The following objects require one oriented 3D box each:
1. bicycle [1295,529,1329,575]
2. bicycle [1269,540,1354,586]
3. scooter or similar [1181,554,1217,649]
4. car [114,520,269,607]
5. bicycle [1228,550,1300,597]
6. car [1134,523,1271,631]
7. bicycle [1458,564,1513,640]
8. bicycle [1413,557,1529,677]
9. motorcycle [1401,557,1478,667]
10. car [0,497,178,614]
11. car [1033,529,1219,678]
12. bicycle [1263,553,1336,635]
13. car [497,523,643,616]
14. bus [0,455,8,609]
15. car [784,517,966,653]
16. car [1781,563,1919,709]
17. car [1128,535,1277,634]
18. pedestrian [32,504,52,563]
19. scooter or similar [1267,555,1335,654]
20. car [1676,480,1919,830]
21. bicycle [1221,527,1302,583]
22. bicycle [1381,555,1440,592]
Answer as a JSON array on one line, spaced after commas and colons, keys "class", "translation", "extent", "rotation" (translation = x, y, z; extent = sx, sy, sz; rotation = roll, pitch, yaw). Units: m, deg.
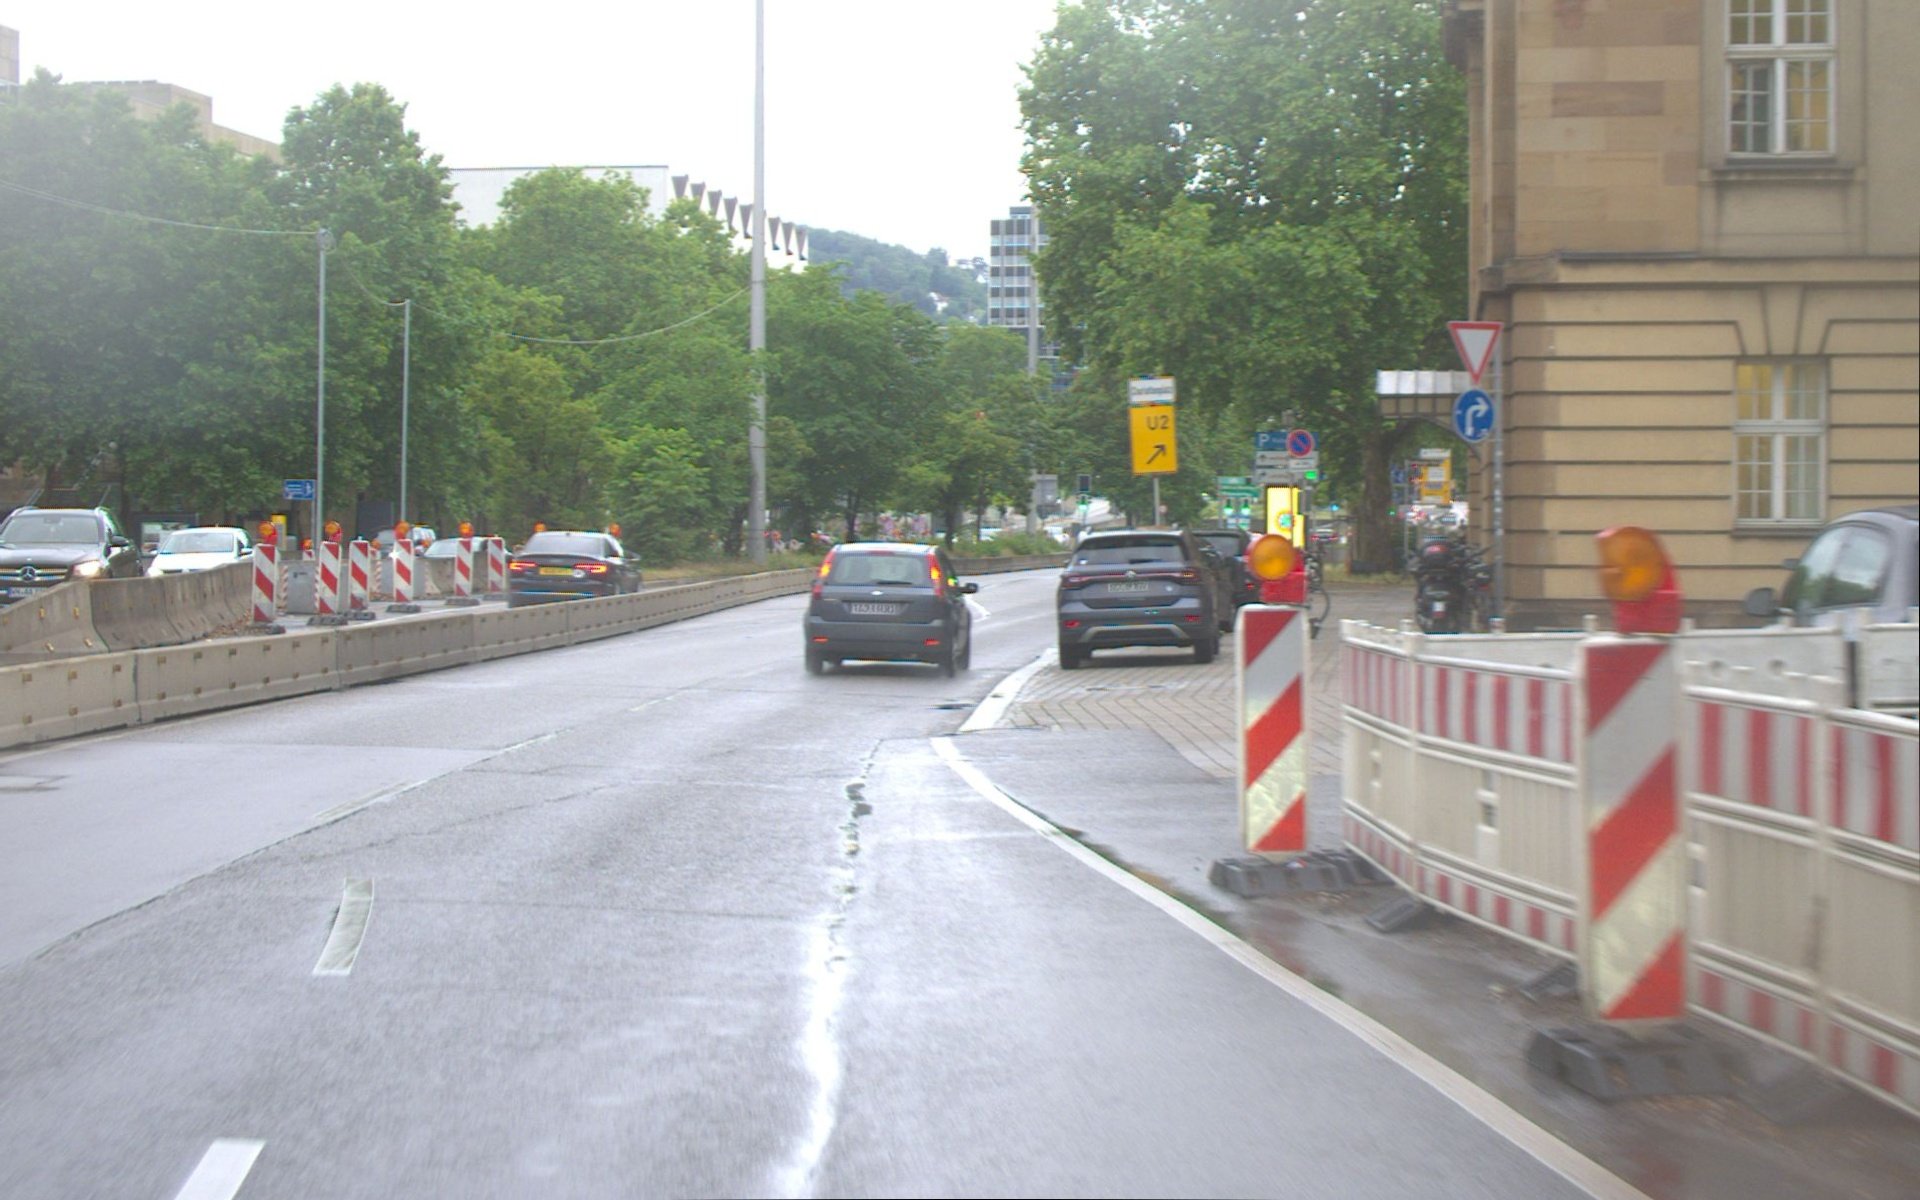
[{"class": "bicycle", "translation": [9.341, -1.271, 91.127], "extent": [0.605, 1.193, 1.903], "rotation": [-1, 0, 15]}, {"class": "bicycle", "translation": [8.396, -0.878, 82.238], "extent": [1.985, 1.056, 0.759], "rotation": [1, 1, 4]}, {"class": "scooter or similar", "translation": [3.126, 0.013, 44.876], "extent": [0.433, 1.212, 1.122], "rotation": [-1, 0, 4]}, {"class": "car", "translation": [-14.078, -0.690, 63.189], "extent": [1.993, 1.525, 4.000], "rotation": [1, 1, -1]}, {"class": "bicycle", "translation": [7.394, -0.650, 83.661], "extent": [1.679, 1.086, 0.650], "rotation": [1, 1, 9]}, {"class": "car", "translation": [4.252, -0.405, 59.787], "extent": [1.994, 1.775, 4.187], "rotation": [1, 1, 9]}, {"class": "bicycle", "translation": [7.423, 0.019, 48.486], "extent": [0.419, 1.046, 1.770], "rotation": [1, 1, 20]}, {"class": "bicycle", "translation": [5.800, 0.175, 39.127], "extent": [1.102, 1.312, 1.858], "rotation": [1, 1, 3]}, {"class": "motorcycle", "translation": [5.845, 0.132, 41.842], "extent": [0.807, 1.294, 1.798], "rotation": [1, 1, 11]}, {"class": "car", "translation": [-12.308, -0.650, 47.609], "extent": [1.920, 1.525, 4.761], "rotation": [1, 1, -1]}, {"class": "car", "translation": [1.972, 0.001, 39.715], "extent": [1.871, 1.613, 4.403], "rotation": [0, 1, 6]}, {"class": "bicycle", "translation": [5.162, -0.102, 52.345], "extent": [0.775, 1.214, 1.966], "rotation": [-1, 1, -4]}, {"class": "car", "translation": [-6.462, -0.513, 57.338], "extent": [1.754, 1.447, 4.000], "rotation": [-2, 0, 3]}, {"class": "bus", "translation": [-26.412, -1.619, 78.462], "extent": [2.805, 3.798, 14.591], "rotation": [3, 1, 11]}, {"class": "car", "translation": [-0.991, -0.160, 38.194], "extent": [1.843, 1.411, 3.840], "rotation": [-1, 0, -4]}, {"class": "car", "translation": [9.489, 0.339, 35.356], "extent": [1.521, 1.406, 4.127], "rotation": [1, 1, 6]}, {"class": "car", "translation": [3.590, -0.234, 50.461], "extent": [1.759, 1.409, 3.150], "rotation": [0, 0, 12]}, {"class": "pedestrian", "translation": [-31.785, -2.294, 119.054], "extent": [0.478, 2.007, 0.512], "rotation": [-1, 0, 8]}, {"class": "scooter or similar", "translation": [4.564, 0.052, 46.015], "extent": [0.433, 1.288, 1.258], "rotation": [1, 1, -17]}, {"class": "car", "translation": [4.682, 0.241, 16.487], "extent": [1.687, 1.489, 3.621], "rotation": [1, 0, -1]}, {"class": "bicycle", "translation": [7.390, -1.111, 84.231], "extent": [1.907, 1.328, 0.650], "rotation": [1, 1, 9]}, {"class": "bicycle", "translation": [13.331, -0.784, 101.726], "extent": [1.642, 1.017, 0.574], "rotation": [3, 1, 12]}]
